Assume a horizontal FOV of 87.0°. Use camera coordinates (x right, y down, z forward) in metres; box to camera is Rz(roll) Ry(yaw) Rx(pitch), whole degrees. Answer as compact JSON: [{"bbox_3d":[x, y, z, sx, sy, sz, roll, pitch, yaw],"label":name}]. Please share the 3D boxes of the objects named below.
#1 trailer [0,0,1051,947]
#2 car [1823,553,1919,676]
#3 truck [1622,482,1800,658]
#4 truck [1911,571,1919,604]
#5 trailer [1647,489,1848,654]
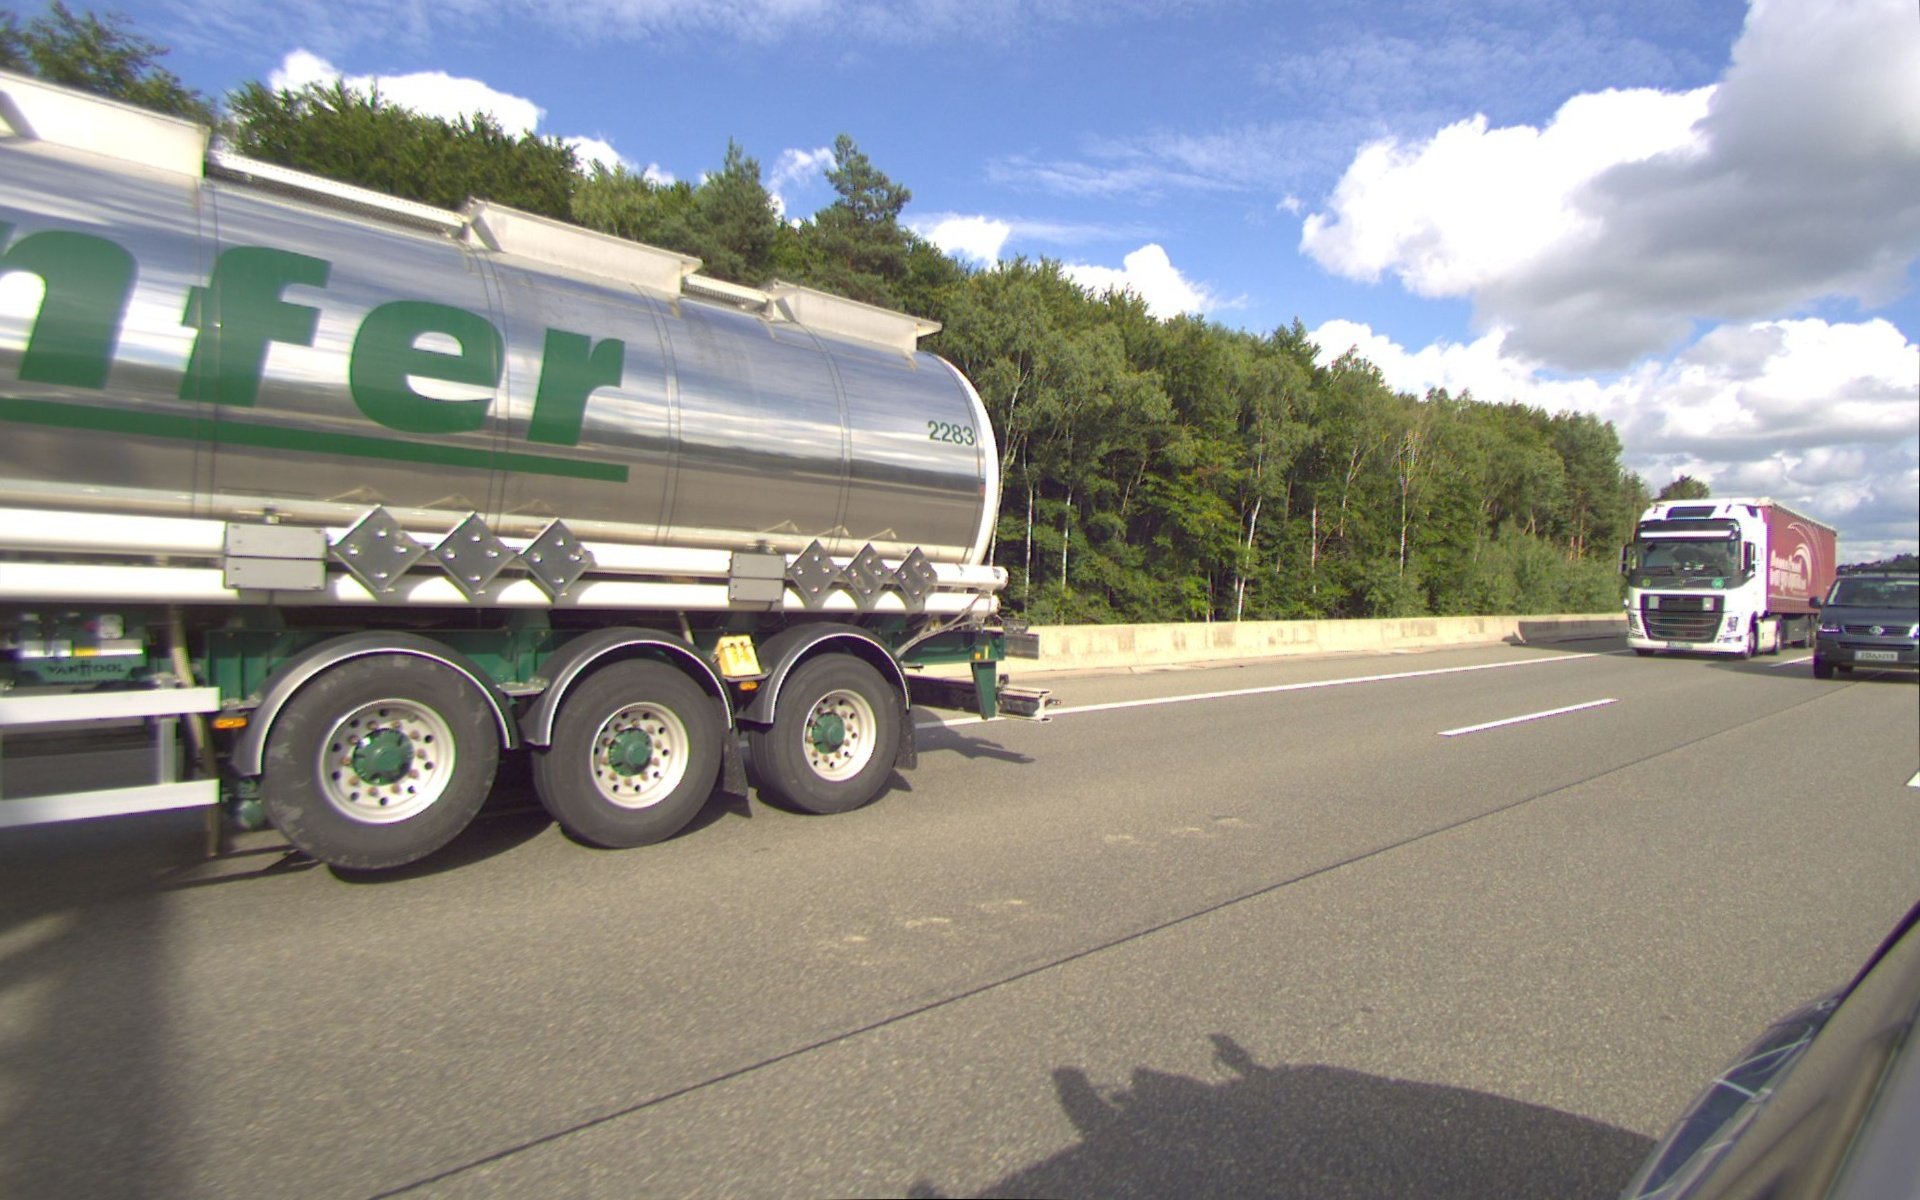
[{"bbox_3d":[-4.519,-0.592,4.977,11.655,3.814,2.653,0,1,-42],"label":"trailer"},{"bbox_3d":[18.275,0.244,19.521,4.847,2.136,1.852,0,0,-42],"label":"car"},{"bbox_3d":[19.840,-0.732,26.615,5.676,4.096,2.777,0,1,-43],"label":"truck"},{"bbox_3d":[112.118,-1.412,116.957,3.009,3.730,7.445,2,1,42],"label":"truck"},{"bbox_3d":[24.327,-0.746,30.812,13.482,4.096,2.777,0,1,-43],"label":"trailer"}]
